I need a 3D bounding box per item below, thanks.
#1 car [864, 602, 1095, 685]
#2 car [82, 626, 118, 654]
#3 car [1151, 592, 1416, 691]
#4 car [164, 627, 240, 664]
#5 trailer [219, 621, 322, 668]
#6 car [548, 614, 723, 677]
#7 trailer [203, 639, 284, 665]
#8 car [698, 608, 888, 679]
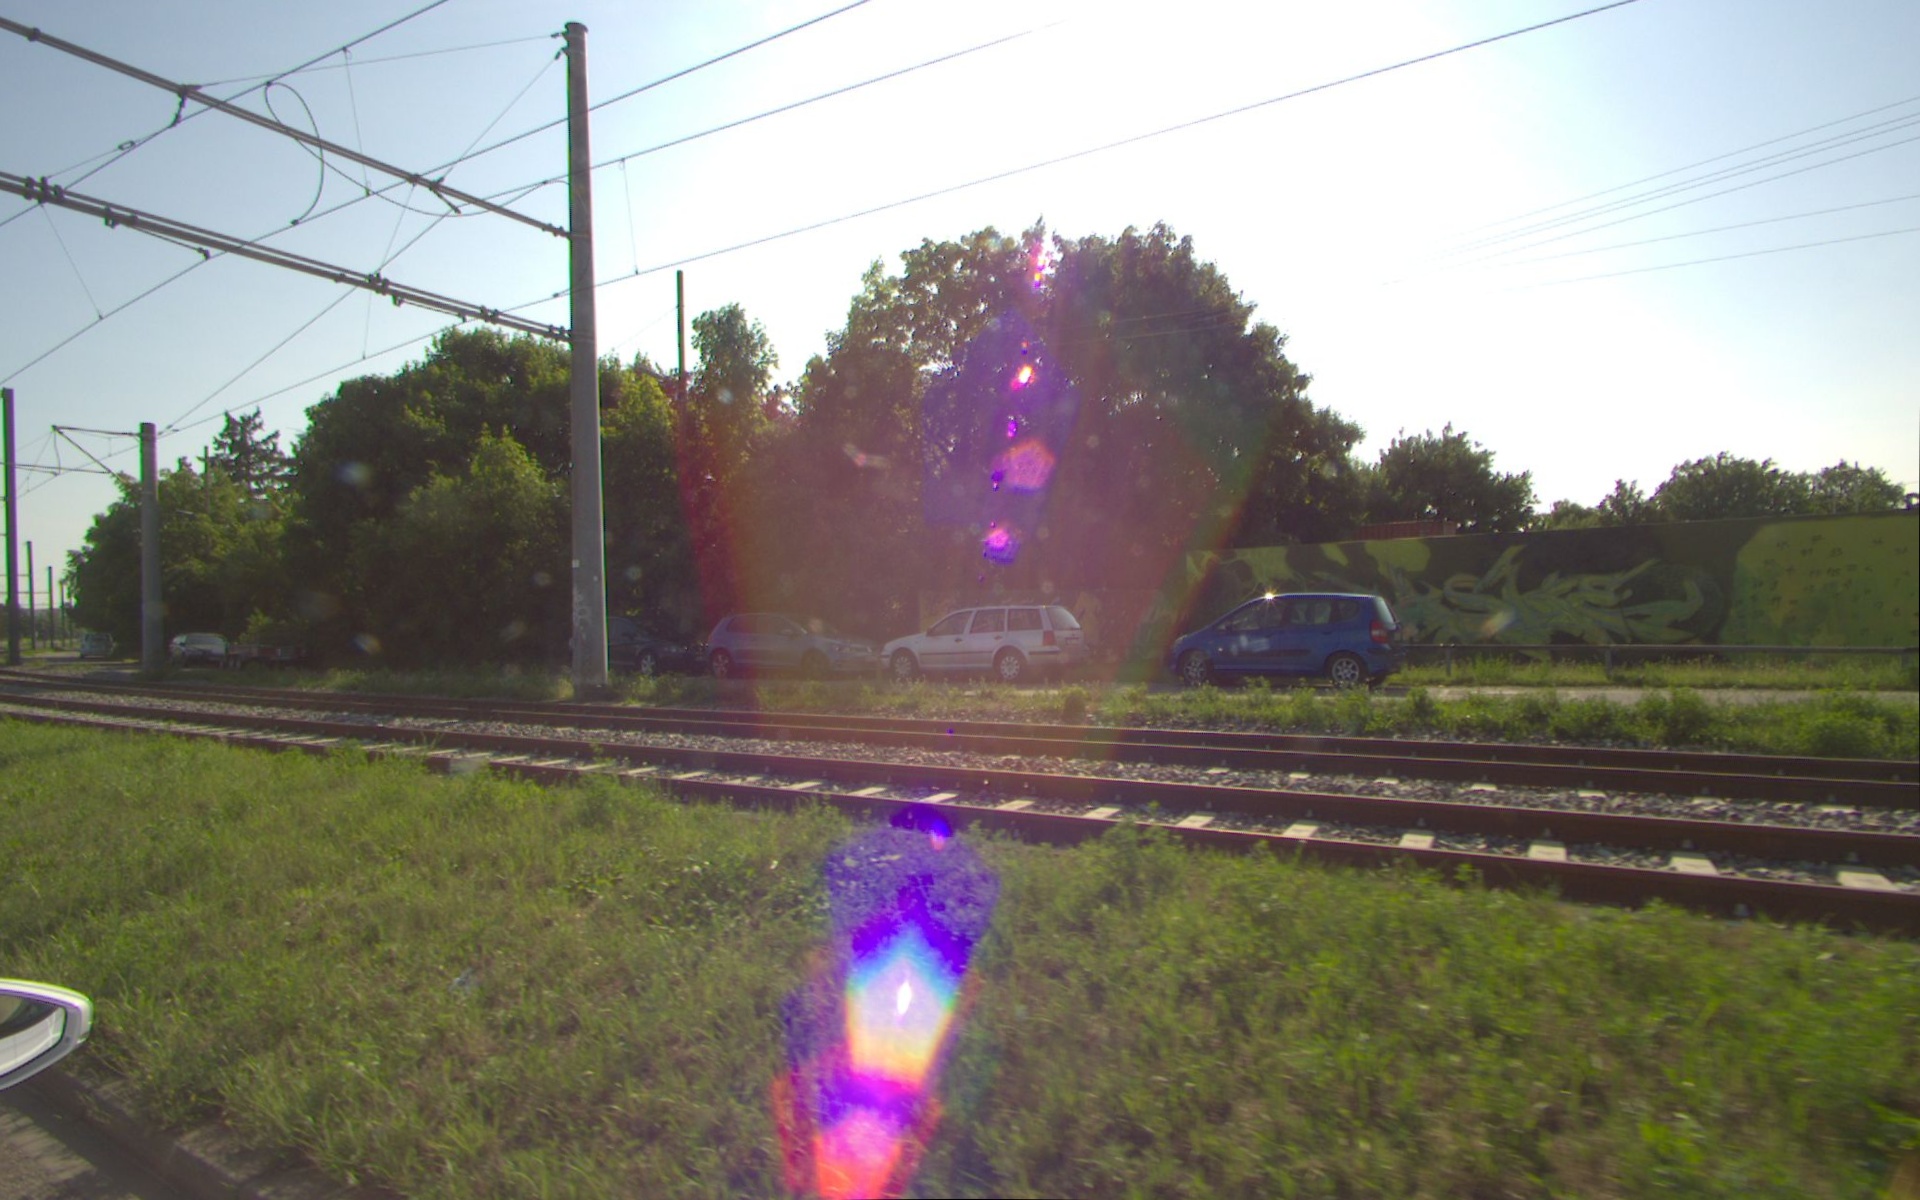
[{"bbox_3d":[0.325,0.812,19.750,4.330,1.484,1.705,-1,0,34],"label":"car"},{"bbox_3d":[-65.824,3.073,76.587,1.980,2.029,5.023,3,-4,-41],"label":"car"},{"bbox_3d":[5.283,0.667,16.544,3.859,1.448,1.673,-1,-2,36],"label":"car"},{"bbox_3d":[-31.882,1.892,42.081,4.828,1.474,1.690,-2,-3,43],"label":"car"},{"bbox_3d":[-25.187,1.620,36.521,4.209,1.616,2.019,-2,-4,40],"label":"trailer"},{"bbox_3d":[-8.038,1.107,24.695,4.456,1.428,1.620,-2,-2,32],"label":"car"},{"bbox_3d":[-28.099,2.037,39.264,3.685,0.951,1.725,-2,-4,40],"label":"trailer"},{"bbox_3d":[-3.697,0.939,21.990,4.087,1.419,1.483,-1,0,29],"label":"car"}]
